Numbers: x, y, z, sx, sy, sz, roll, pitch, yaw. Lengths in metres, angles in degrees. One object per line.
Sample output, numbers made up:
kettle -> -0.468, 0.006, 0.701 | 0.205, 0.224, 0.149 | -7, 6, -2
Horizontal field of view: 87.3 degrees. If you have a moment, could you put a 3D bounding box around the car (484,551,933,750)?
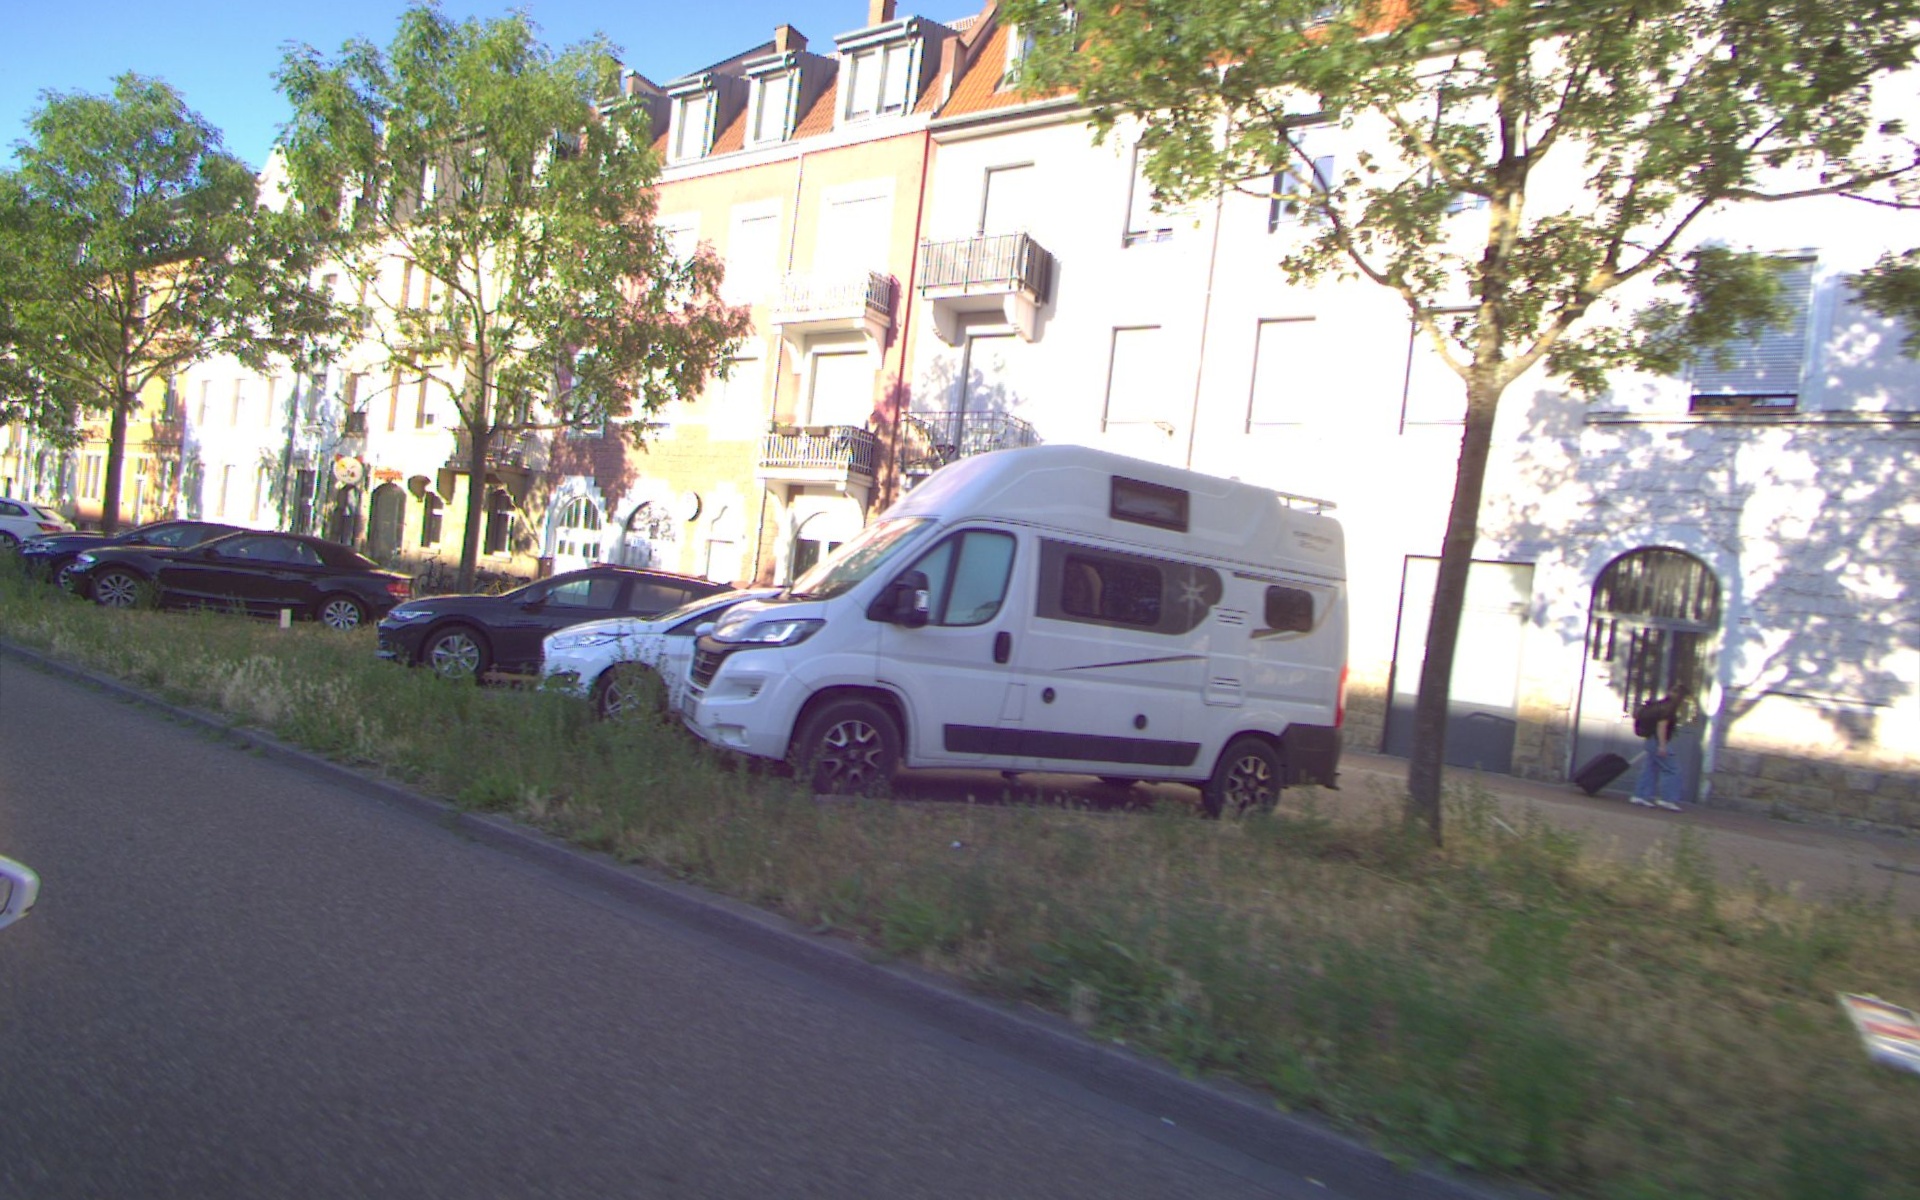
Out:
car -> -2.433, 0.506, 10.031 | 3.867, 1.420, 1.789 | 7, -1, -19

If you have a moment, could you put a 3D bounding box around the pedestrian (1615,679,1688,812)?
pedestrian -> 8.684, 1.808, 12.650 | 0.572, 1.558, 0.508 | 7, 0, 32

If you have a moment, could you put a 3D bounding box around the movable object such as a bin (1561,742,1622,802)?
movable object such as a bin -> 8.190, 2.230, 13.058 | 0.595, 0.662, 0.214 | 7, 0, 32

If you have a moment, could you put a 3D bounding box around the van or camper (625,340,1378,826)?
van or camper -> 0.426, 0.137, 8.285 | 5.582, 2.846, 2.190 | 7, 0, -26

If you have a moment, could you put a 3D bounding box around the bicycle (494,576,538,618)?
bicycle -> -11.840, -0.082, 26.823 | 1.198, 0.973, 0.418 | 7, 0, 33

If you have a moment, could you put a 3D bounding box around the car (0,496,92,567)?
car -> -23.943, -1.844, 23.887 | 4.583, 1.528, 1.838 | 7, -1, -22

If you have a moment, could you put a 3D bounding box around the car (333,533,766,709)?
car -> -4.558, 0.272, 11.682 | 4.216, 1.420, 1.788 | 7, -1, -20

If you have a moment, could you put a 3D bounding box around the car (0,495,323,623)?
car -> -13.030, -0.614, 16.616 | 4.008, 1.453, 1.715 | 8, -2, -29

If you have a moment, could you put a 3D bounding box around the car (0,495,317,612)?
car -> -14.824, -0.807, 18.734 | 4.376, 1.433, 1.876 | 8, -1, -21

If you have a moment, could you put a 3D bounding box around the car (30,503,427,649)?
car -> -10.587, -0.301, 15.053 | 4.383, 1.440, 1.911 | 9, -1, -25

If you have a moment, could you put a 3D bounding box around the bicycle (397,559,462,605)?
bicycle -> -15.190, -0.530, 28.798 | 2.191, 1.093, 0.588 | 6, 2, 33

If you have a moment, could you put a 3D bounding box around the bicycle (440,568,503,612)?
bicycle -> -13.443, -0.286, 27.664 | 1.896, 1.003, 0.579 | 6, 0, 33
